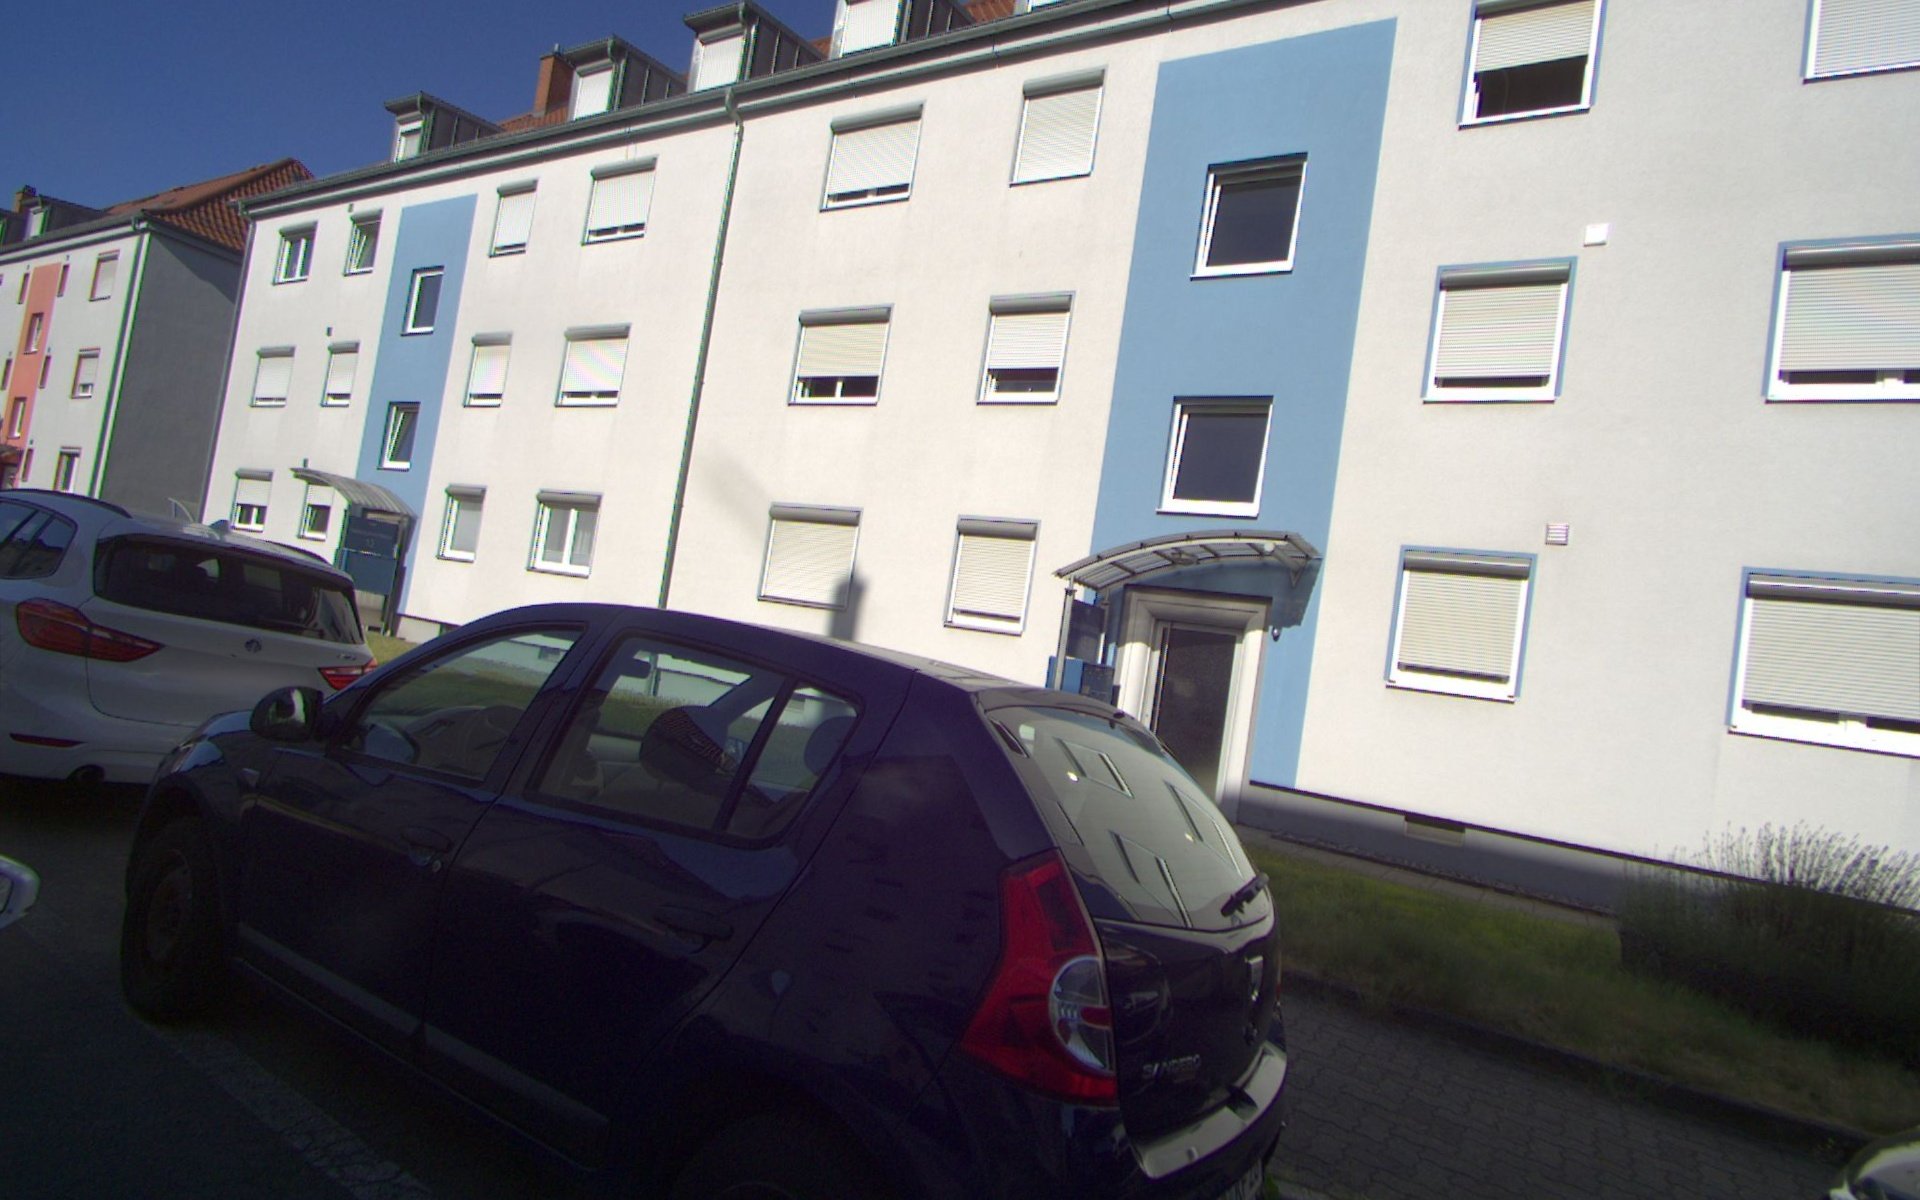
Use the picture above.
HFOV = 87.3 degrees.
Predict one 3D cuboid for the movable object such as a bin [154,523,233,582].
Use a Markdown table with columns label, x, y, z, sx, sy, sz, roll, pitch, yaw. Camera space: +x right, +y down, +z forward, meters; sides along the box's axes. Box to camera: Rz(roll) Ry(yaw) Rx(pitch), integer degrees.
| label | x | y | z | sx | sy | sz | roll | pitch | yaw |
| --- | --- | --- | --- | --- | --- | --- | --- | --- | --- |
| movable object such as a bin | -22.380 | -1.382 | 29.376 | 1.168 | 1.431 | 1.363 | 7 | -2 | 31 |

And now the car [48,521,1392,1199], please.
| label | x | y | z | sx | sy | sz | roll | pitch | yaw |
| --- | --- | --- | --- | --- | --- | --- | --- | --- | --- |
| car | -1.035 | 0.783 | 3.207 | 4.088 | 1.515 | 1.645 | 7 | -2 | 33 |

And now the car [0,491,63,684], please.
| label | x | y | z | sx | sy | sz | roll | pitch | yaw |
| --- | --- | --- | --- | --- | --- | --- | --- | --- | --- |
| car | -10.456 | -0.452 | 9.288 | 4.376 | 1.633 | 1.758 | 8 | -5 | 30 |

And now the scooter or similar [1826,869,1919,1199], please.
| label | x | y | z | sx | sy | sz | roll | pitch | yaw |
| --- | --- | --- | --- | --- | --- | --- | --- | --- | --- |
| scooter or similar | 4.142 | 1.738 | 3.477 | 1.563 | 1.163 | 0.484 | 8 | 1 | 33 |

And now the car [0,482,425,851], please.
| label | x | y | z | sx | sy | sz | roll | pitch | yaw |
| --- | --- | --- | --- | --- | --- | --- | --- | --- | --- |
| car | -5.519 | 0.181 | 6.232 | 4.360 | 1.591 | 1.696 | 8 | -4 | 31 |

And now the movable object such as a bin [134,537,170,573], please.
| label | x | y | z | sx | sy | sz | roll | pitch | yaw |
| --- | --- | --- | --- | --- | --- | --- | --- | --- | --- |
| movable object such as a bin | -22.968 | -1.278 | 28.602 | 0.622 | 0.896 | 0.524 | 7 | -2 | 32 |

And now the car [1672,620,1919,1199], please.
| label | x | y | z | sx | sy | sz | roll | pitch | yaw |
| --- | --- | --- | --- | --- | --- | --- | --- | --- | --- |
| car | 3.243 | 1.198 | 0.620 | 4.395 | 1.665 | 1.789 | 7 | -4 | 33 |

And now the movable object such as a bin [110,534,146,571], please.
| label | x | y | z | sx | sy | sz | roll | pitch | yaw |
| --- | --- | --- | --- | --- | --- | --- | --- | --- | --- |
| movable object such as a bin | -23.268 | -1.334 | 28.135 | 0.622 | 0.896 | 0.524 | 7 | -2 | 32 |
